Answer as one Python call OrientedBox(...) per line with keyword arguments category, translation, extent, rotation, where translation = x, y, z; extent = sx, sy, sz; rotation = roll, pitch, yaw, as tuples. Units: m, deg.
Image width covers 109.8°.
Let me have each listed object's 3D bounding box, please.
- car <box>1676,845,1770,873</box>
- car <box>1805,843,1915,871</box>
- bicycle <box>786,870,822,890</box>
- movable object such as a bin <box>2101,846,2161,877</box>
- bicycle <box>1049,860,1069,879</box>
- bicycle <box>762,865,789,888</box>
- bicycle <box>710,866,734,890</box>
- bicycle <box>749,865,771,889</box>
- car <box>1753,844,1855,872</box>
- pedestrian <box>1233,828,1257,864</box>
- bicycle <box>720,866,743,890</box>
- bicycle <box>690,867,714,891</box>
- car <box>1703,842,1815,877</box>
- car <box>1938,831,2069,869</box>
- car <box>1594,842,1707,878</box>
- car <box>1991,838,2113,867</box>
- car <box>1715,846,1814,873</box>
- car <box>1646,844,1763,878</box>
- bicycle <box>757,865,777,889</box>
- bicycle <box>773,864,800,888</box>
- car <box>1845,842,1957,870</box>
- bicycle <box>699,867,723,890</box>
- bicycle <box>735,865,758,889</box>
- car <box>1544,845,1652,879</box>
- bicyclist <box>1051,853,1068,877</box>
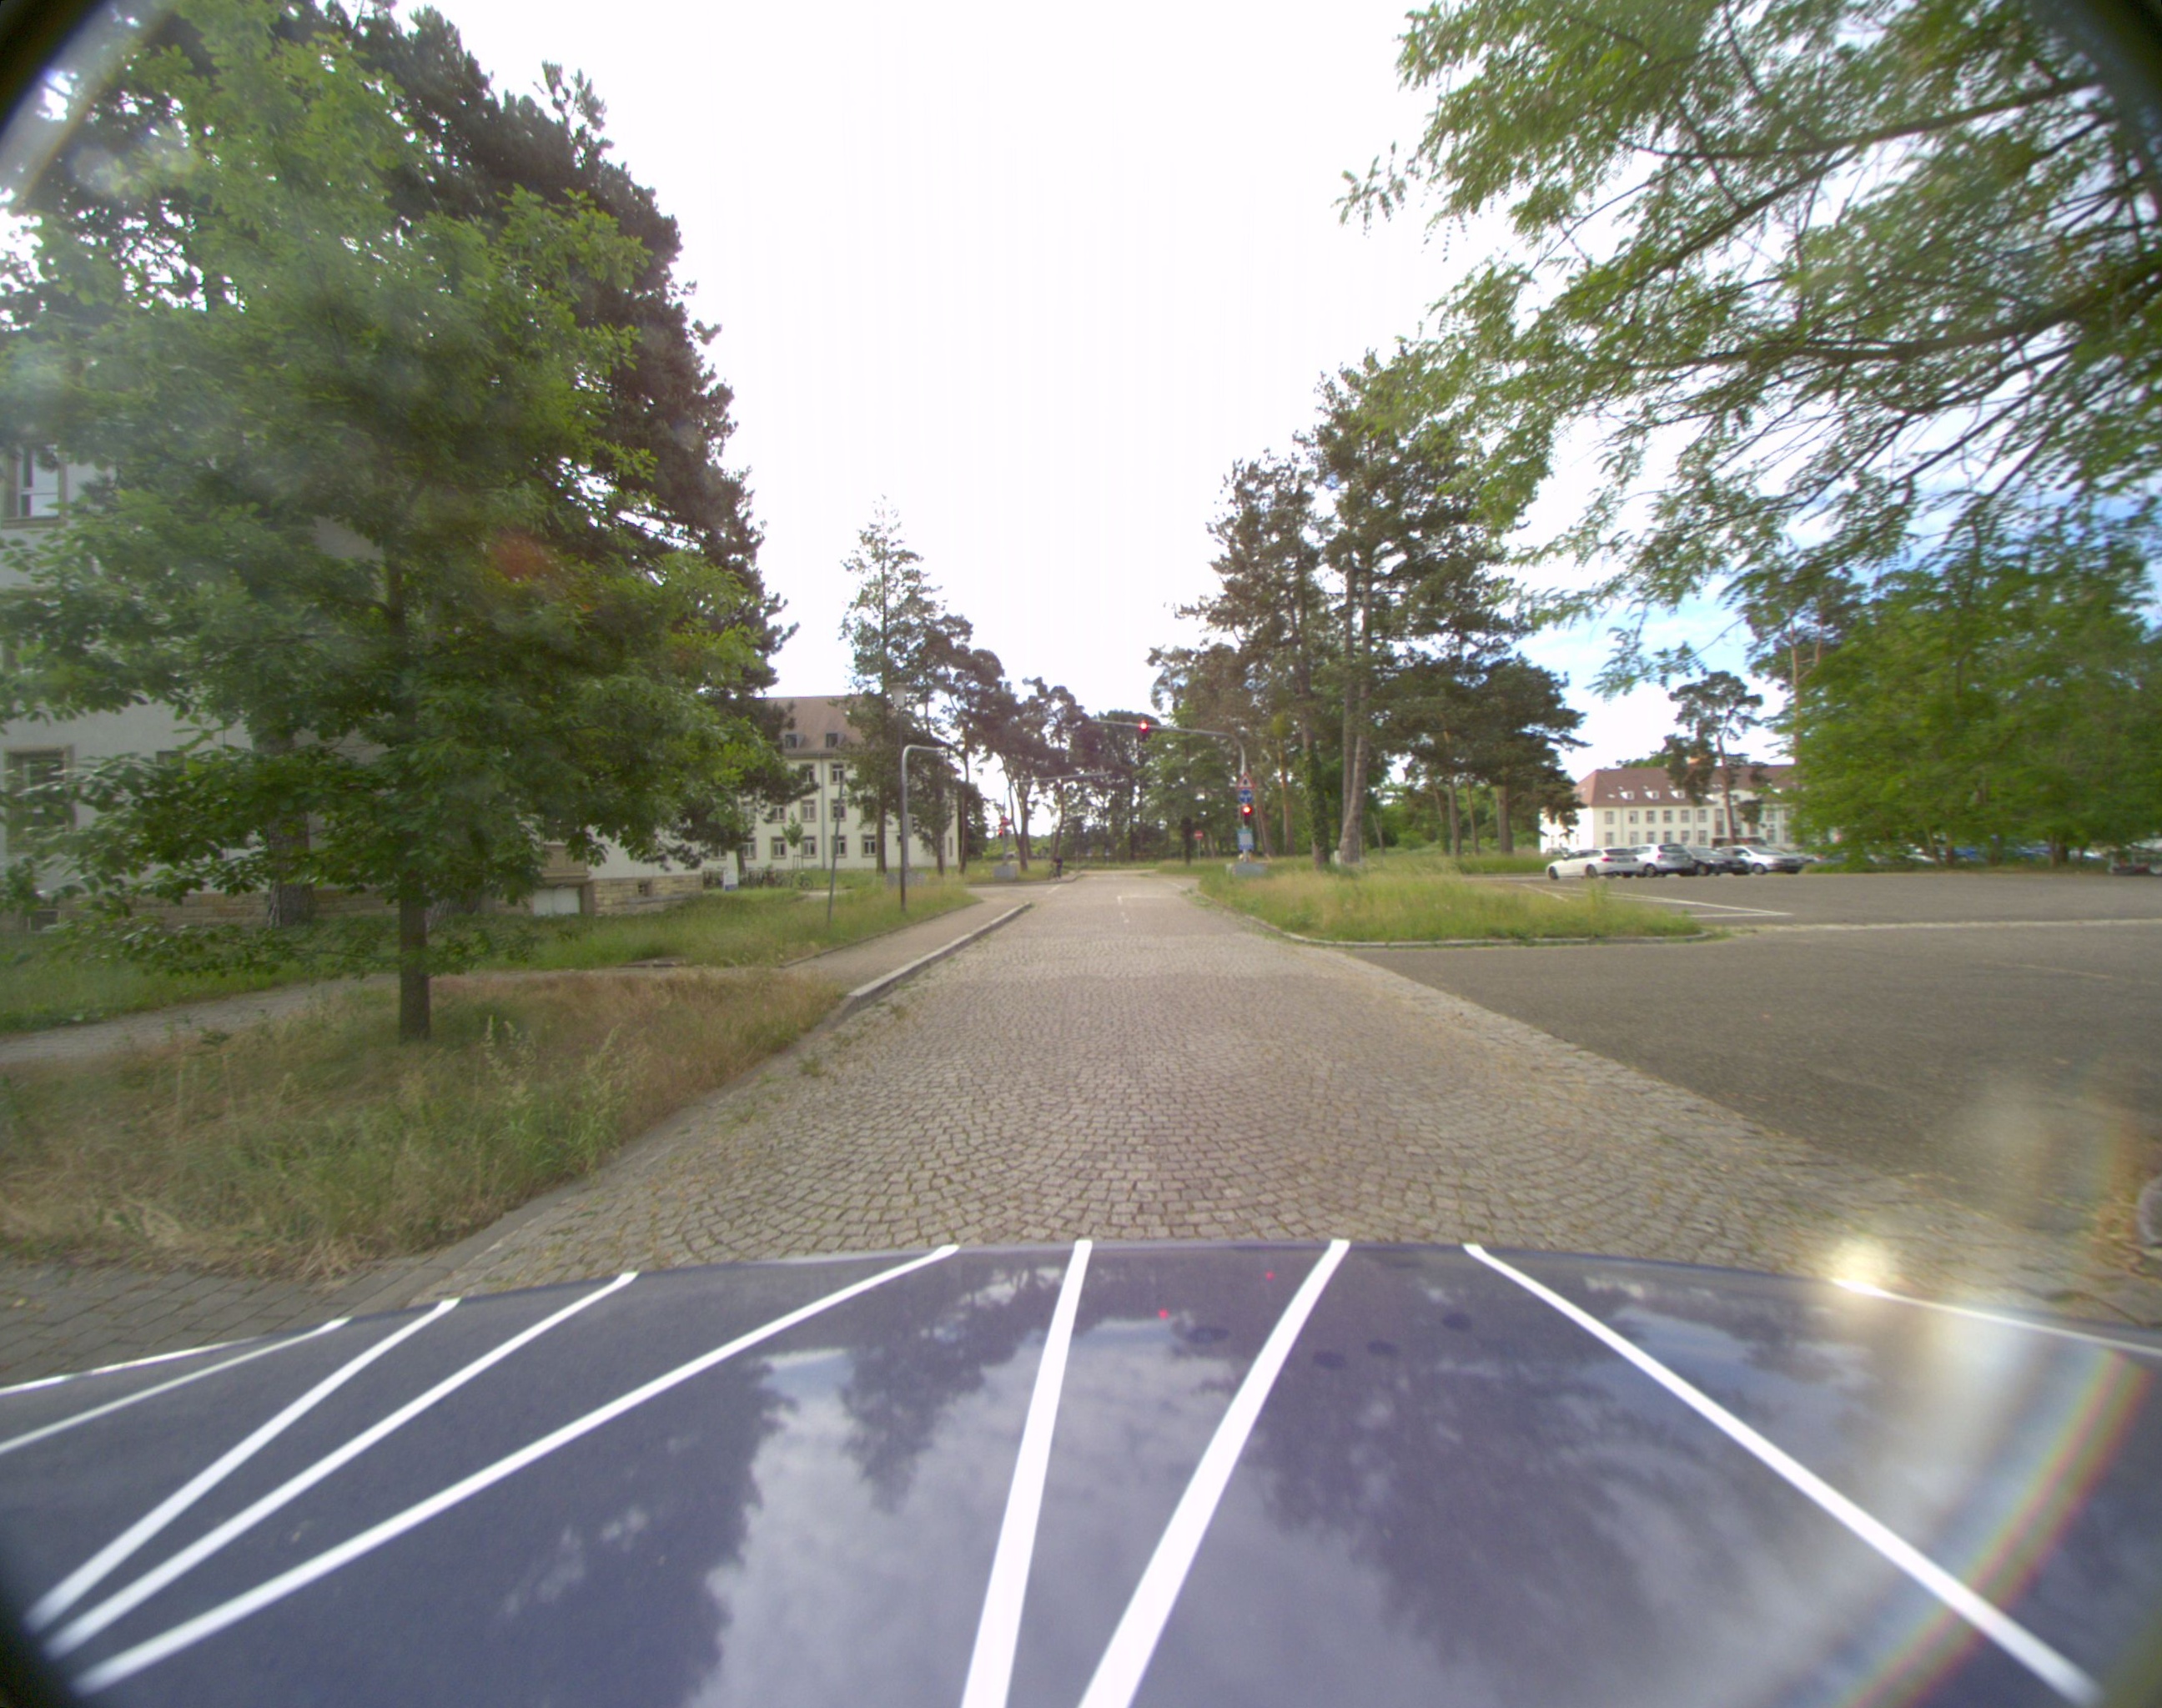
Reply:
OrientedBox(category="car", translation=(39.233, 0.343, 46.601), extent=(1.840, 1.549, 4.586), rotation=(-1, -2, 0))
OrientedBox(category="car", translation=(46.912, 0.215, 45.927), extent=(1.840, 1.549, 4.586), rotation=(-1, -2, 0))
OrientedBox(category="bicycle", translation=(-15.767, 1.462, 43.244), extent=(1.836, 1.079, 0.573), rotation=(-1, 2, 5))
OrientedBox(category="movable object such as a bin", translation=(32.772, 0.227, 23.042), extent=(1.041, 0.927, 1.935), rotation=(0, 0, -5))
OrientedBox(category="bicycle", translation=(-1.488, 1.043, 52.027), extent=(0.963, 1.268, 2.165), rotation=(-1, 0, 10))
OrientedBox(category="bicycle", translation=(-18.046, 1.312, 44.864), extent=(0.572, 1.324, 1.839), rotation=(-1, 0, 10))
OrientedBox(category="bicycle", translation=(-21.162, 1.414, 44.834), extent=(0.572, 1.324, 1.837), rotation=(-1, 0, -3))
OrientedBox(category="bicycle", translation=(-18.974, 1.355, 44.915), extent=(0.572, 1.324, 1.837), rotation=(-1, 0, -3))
OrientedBox(category="car", translation=(44.189, 0.286, 46.611), extent=(1.840, 1.512, 4.586), rotation=(-1, -2, 0))
OrientedBox(category="pedestrian", translation=(6.995, -0.328, 32.374), extent=(0.882, 1.509, 0.822), rotation=(-1, 0, 16))
OrientedBox(category="bicycle", translation=(-20.596, 1.388, 44.844), extent=(0.572, 1.324, 1.837), rotation=(-1, 0, -3))
OrientedBox(category="bicycle", translation=(-22.484, 1.474, 45.127), extent=(0.572, 1.324, 1.837), rotation=(-1, 0, -3))
OrientedBox(category="car", translation=(32.111, 0.296, 36.174), extent=(1.736, 1.512, 4.115), rotation=(-1, -2, 2))
OrientedBox(category="car", translation=(55.268, -0.173, 45.704), extent=(1.839, 2.084, 4.983), rotation=(-1, -2, 1))
OrientedBox(category="car", translation=(26.702, 0.335, 35.855), extent=(1.840, 1.568, 4.586), rotation=(-1, -2, 0))
OrientedBox(category="car", translation=(57.924, -0.042, 45.467), extent=(1.749, 1.512, 4.289), rotation=(-1, -2, 0))
OrientedBox(category="car", translation=(41.560, 0.396, 46.377), extent=(1.840, 1.512, 4.586), rotation=(-1, -2, 0))
OrientedBox(category="car", translation=(29.358, 0.386, 35.988), extent=(1.839, 1.460, 4.586), rotation=(-1, -2, 2))
OrientedBox(category="bicycle", translation=(-18.542, 1.335, 44.890), extent=(0.482, 1.324, 1.837), rotation=(-1, 0, -3))
OrientedBox(category="bicycle", translation=(-17.416, 1.287, 44.960), extent=(0.572, 1.324, 1.839), rotation=(-1, 0, 10))
OrientedBox(category="car", translation=(49.946, 0.155, 46.443), extent=(1.840, 1.564, 4.586), rotation=(-1, -2, 0))
OrientedBox(category="bicycle", translation=(-21.881, 1.447, 44.907), extent=(0.572, 1.324, 1.837), rotation=(-1, 0, -3))
OrientedBox(category="bicycle", translation=(-19.741, 1.357, 44.874), extent=(0.572, 1.324, 1.837), rotation=(-1, 0, -3))
OrientedBox(category="car", translation=(24.088, 0.413, 35.665), extent=(1.840, 1.441, 4.656), rotation=(-1, -2, 0))
OrientedBox(category="bicyclist", translation=(-1.497, 0.741, 52.124), extent=(0.963, 1.625, 0.918), rotation=(-1, 0, 10))
